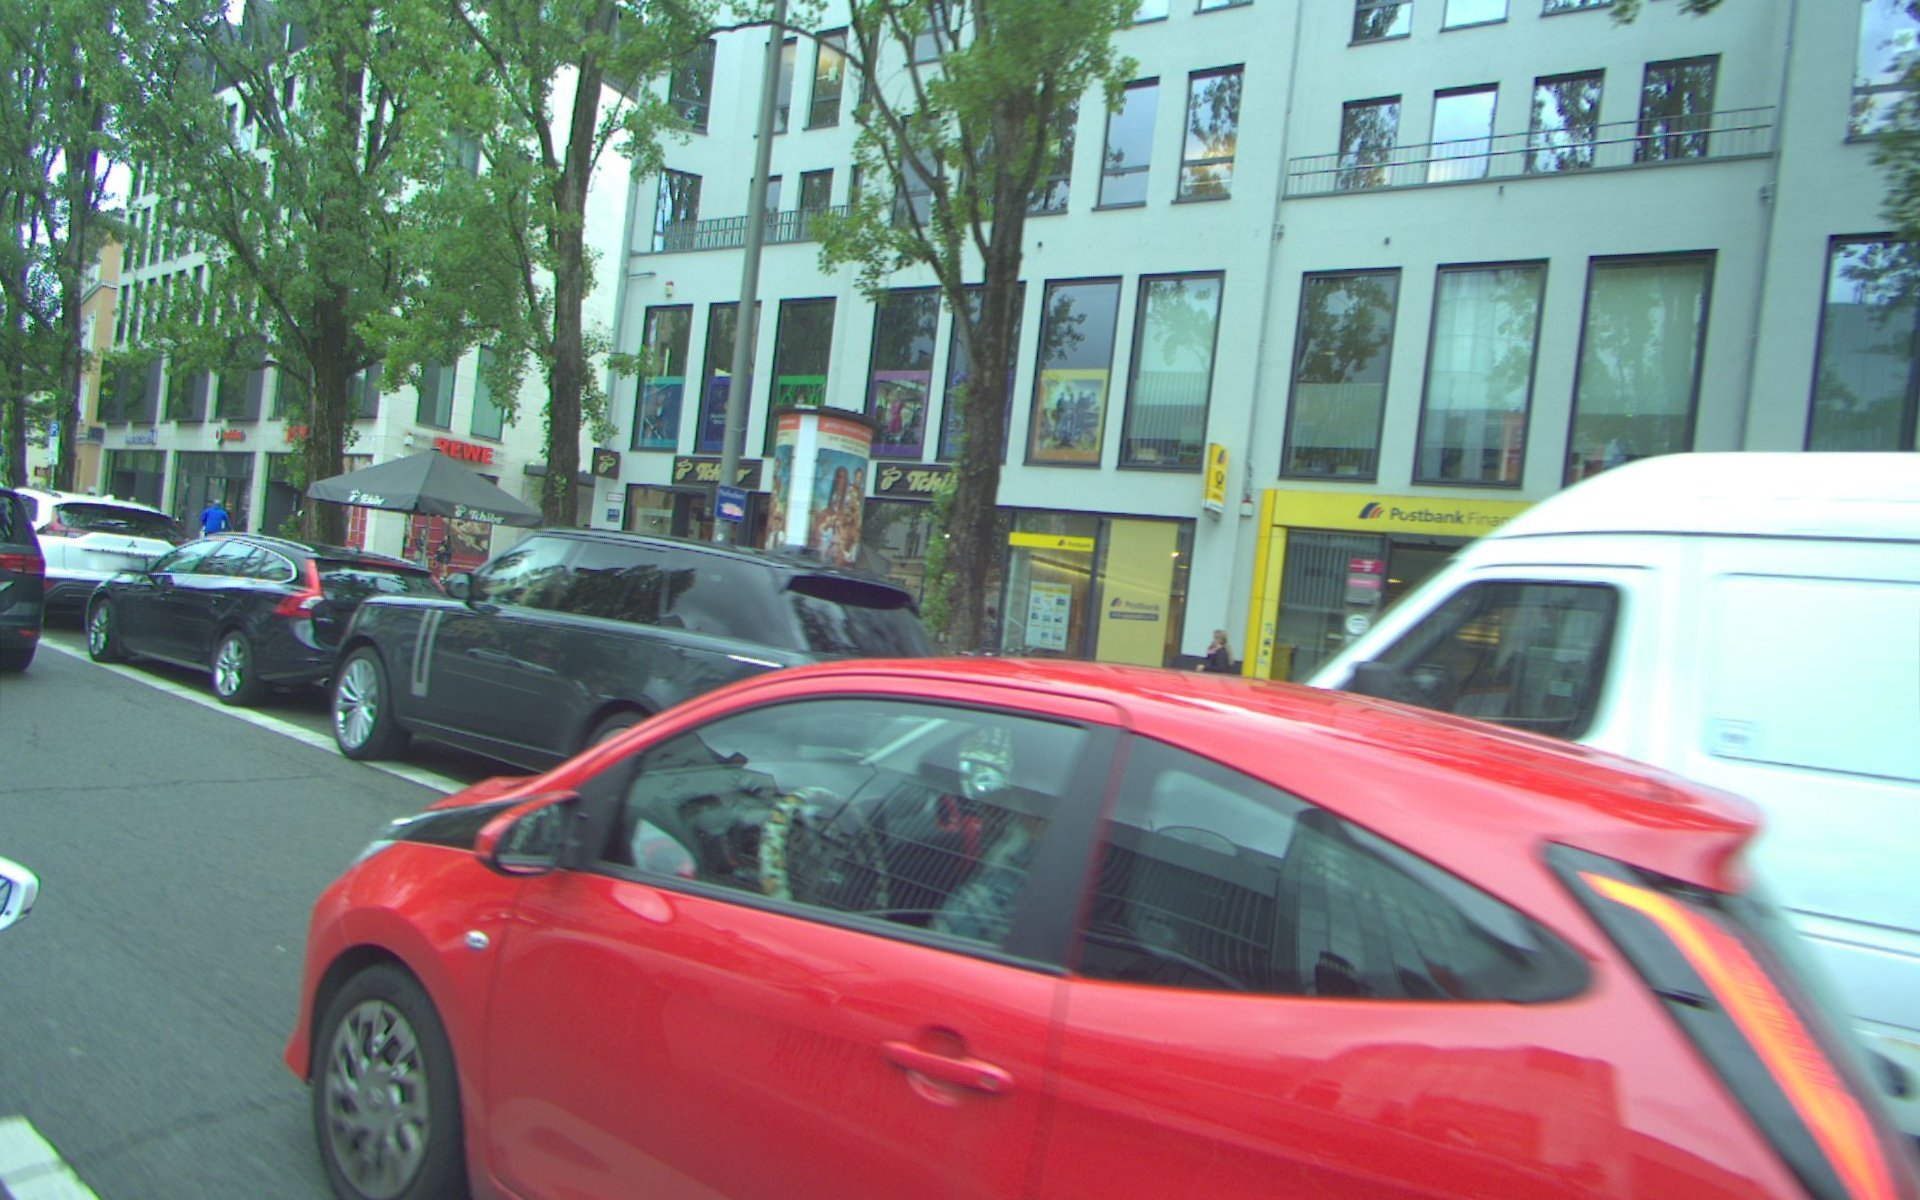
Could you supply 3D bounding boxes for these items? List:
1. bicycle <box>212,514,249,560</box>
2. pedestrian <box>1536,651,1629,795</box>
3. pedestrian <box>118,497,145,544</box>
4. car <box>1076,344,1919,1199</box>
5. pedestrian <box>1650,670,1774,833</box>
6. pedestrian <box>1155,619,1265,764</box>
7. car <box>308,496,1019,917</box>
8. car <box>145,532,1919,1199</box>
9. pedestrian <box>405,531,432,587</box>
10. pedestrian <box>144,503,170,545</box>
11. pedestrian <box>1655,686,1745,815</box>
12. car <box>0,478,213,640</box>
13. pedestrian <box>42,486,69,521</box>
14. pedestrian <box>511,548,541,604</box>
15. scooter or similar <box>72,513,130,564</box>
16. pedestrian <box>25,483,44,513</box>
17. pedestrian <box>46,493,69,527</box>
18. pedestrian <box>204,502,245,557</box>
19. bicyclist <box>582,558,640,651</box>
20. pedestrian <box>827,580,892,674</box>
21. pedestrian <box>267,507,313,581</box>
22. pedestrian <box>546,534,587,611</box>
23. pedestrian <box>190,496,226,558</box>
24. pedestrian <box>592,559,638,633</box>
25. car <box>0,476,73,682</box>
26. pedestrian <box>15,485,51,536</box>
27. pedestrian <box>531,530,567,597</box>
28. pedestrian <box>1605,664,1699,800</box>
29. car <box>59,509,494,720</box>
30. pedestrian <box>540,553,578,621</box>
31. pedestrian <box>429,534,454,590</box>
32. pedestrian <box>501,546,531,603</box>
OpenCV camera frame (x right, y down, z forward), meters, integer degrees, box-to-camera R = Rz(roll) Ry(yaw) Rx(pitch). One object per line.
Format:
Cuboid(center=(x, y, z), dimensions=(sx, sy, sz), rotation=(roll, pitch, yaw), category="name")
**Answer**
Cuboid(center=(-20.817, -1.809, 28.695), dimensions=(1.744, 1.187, 0.449), rotation=(7, 1, 44), category="bicycle")
Cuboid(center=(7.873, 1.534, 12.753), dimensions=(0.784, 1.670, 0.692), rotation=(7, 1, 29), category="pedestrian")
Cuboid(center=(-30.876, -2.951, 37.495), dimensions=(0.545, 1.658, 0.555), rotation=(6, 1, -25), category="pedestrian")
Cuboid(center=(3.485, 0.708, 3.809), dimensions=(5.462, 2.774, 1.997), rotation=(6, -1, 31), category="car")
Cuboid(center=(8.769, 1.756, 11.748), dimensions=(0.712, 1.747, 0.735), rotation=(5, 2, -24), category="pedestrian")
Cuboid(center=(3.186, 1.144, 12.796), dimensions=(1.006, 1.657, 0.801), rotation=(7, 1, 30), category="pedestrian")
Cuboid(center=(-2.201, 0.463, 6.876), dimensions=(4.702, 1.826, 1.931), rotation=(7, -1, 34), category="car")
Cuboid(center=(-0.189, 0.778, 2.453), dimensions=(3.537, 1.463, 1.667), rotation=(6, -2, 33), category="car")
Cuboid(center=(-17.738, -1.346, 32.927), dimensions=(0.460, 1.773, 0.427), rotation=(7, 1, 9), category="pedestrian")
Cuboid(center=(-30.433, -2.868, 38.130), dimensions=(0.497, 1.510, 0.544), rotation=(6, 1, -24), category="pedestrian")
Cuboid(center=(9.778, 1.965, 13.292), dimensions=(0.762, 1.555, 0.700), rotation=(5, 2, -44), category="pedestrian")
Cuboid(center=(-11.885, -0.629, 13.275), dimensions=(4.336, 1.706, 1.729), rotation=(7, -1, 33), category="car")
Cuboid(center=(-42.772, -4.559, 47.579), dimensions=(0.701, 1.571, 0.606), rotation=(6, 2, 14), category="pedestrian")
Cuboid(center=(-13.079, -0.729, 30.305), dimensions=(0.504, 1.599, 0.545), rotation=(7, -1, -44), category="pedestrian")
Cuboid(center=(-23.293, -1.649, 27.295), dimensions=(0.373, 1.241, 1.051), rotation=(7, 1, 33), category="scooter or similar")
Cuboid(center=(-52.292, -5.765, 56.817), dimensions=(0.632, 1.634, 0.670), rotation=(7, 2, 44), category="pedestrian")
Cuboid(center=(-47.061, -4.682, 52.483), dimensions=(0.726, 1.647, 0.796), rotation=(5, 2, -39), category="pedestrian")
Cuboid(center=(-25.858, -2.460, 35.354), dimensions=(0.669, 1.794, 0.796), rotation=(7, 1, 18), category="pedestrian")
Cuboid(center=(-5.794, 0.075, 16.697), dimensions=(0.433, 1.466, 0.639), rotation=(7, 1, 33), category="bicyclist")
Cuboid(center=(-1.771, 0.480, 17.827), dimensions=(0.738, 1.578, 0.683), rotation=(7, 2, 31), category="pedestrian")
Cuboid(center=(-18.611, -1.561, 27.954), dimensions=(0.911, 1.949, 0.646), rotation=(7, 2, 33), category="pedestrian")
Cuboid(center=(-8.829, -0.620, 22.567), dimensions=(0.560, 1.655, 0.490), rotation=(7, 2, 36), category="pedestrian")
Cuboid(center=(-21.139, -2.048, 28.274), dimensions=(0.783, 1.640, 0.609), rotation=(8, 2, 43), category="pedestrian")
Cuboid(center=(-7.892, -0.091, 23.034), dimensions=(0.664, 1.596, 0.565), rotation=(6, 1, 6), category="pedestrian")
Cuboid(center=(-9.650, -0.407, 8.748), dimensions=(4.115, 1.633, 1.763), rotation=(7, -1, 33), category="car")
Cuboid(center=(-36.733, -3.546, 39.878), dimensions=(0.924, 1.893, 0.816), rotation=(7, 2, 38), category="pedestrian")
Cuboid(center=(-10.628, -0.945, 26.014), dimensions=(0.498, 1.643, 0.549), rotation=(7, -1, 1), category="pedestrian")
Cuboid(center=(8.901, 1.672, 12.979), dimensions=(0.759, 1.605, 0.692), rotation=(7, 1, 29), category="pedestrian")
Cuboid(center=(-6.849, 0.097, 9.951), dimensions=(4.495, 1.450, 1.774), rotation=(7, -2, 32), category="car")
Cuboid(center=(-10.126, -0.327, 25.398), dimensions=(0.500, 1.643, 0.547), rotation=(6, -1, 40), category="pedestrian")
Cuboid(center=(-17.220, -1.263, 33.420), dimensions=(0.420, 1.773, 0.467), rotation=(7, 1, 38), category="pedestrian")
Cuboid(center=(-13.519, -0.783, 30.635), dimensions=(0.504, 1.643, 0.494), rotation=(7, -1, -44), category="pedestrian")
